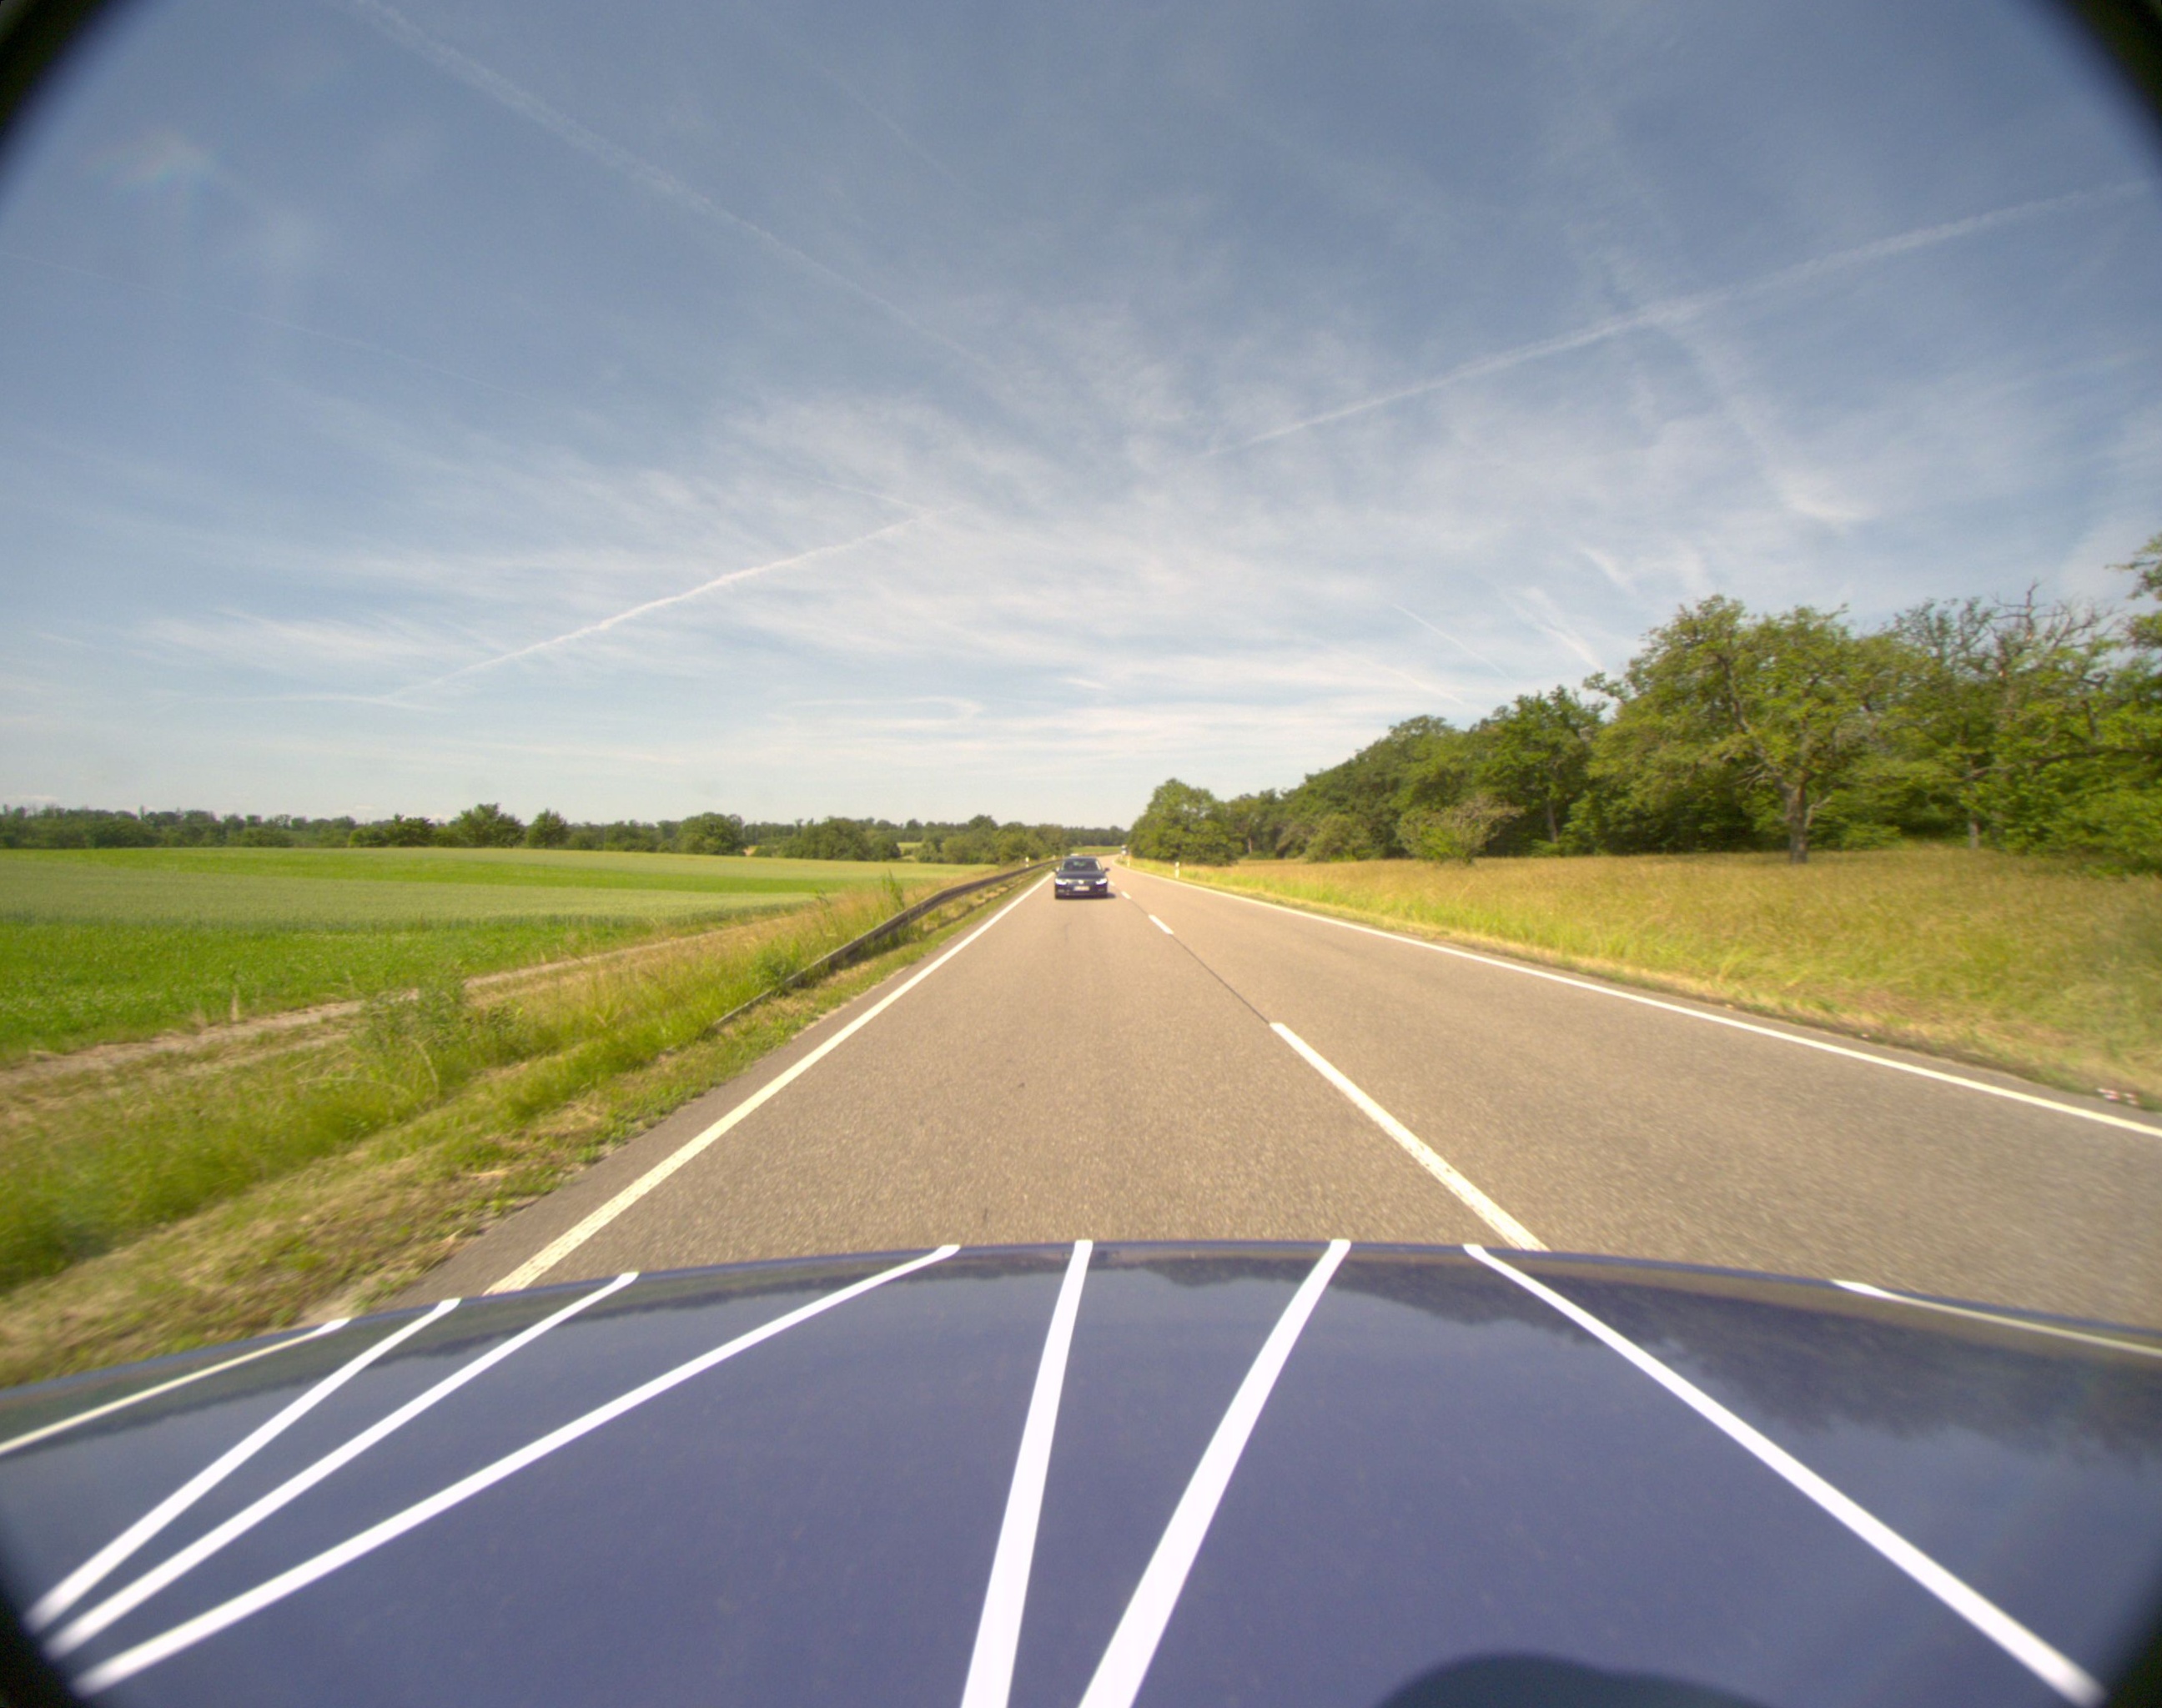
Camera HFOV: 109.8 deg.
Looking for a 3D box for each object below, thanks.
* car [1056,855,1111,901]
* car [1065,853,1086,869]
[{"bbox_3d":[0.044,0.818,27.664,1.822,1.501,4.500,-1,0,-1],"label":"car"},{"bbox_3d":[-0.533,0.650,71.048,1.928,1.501,4.291,-1,0,-1],"label":"car"}]
